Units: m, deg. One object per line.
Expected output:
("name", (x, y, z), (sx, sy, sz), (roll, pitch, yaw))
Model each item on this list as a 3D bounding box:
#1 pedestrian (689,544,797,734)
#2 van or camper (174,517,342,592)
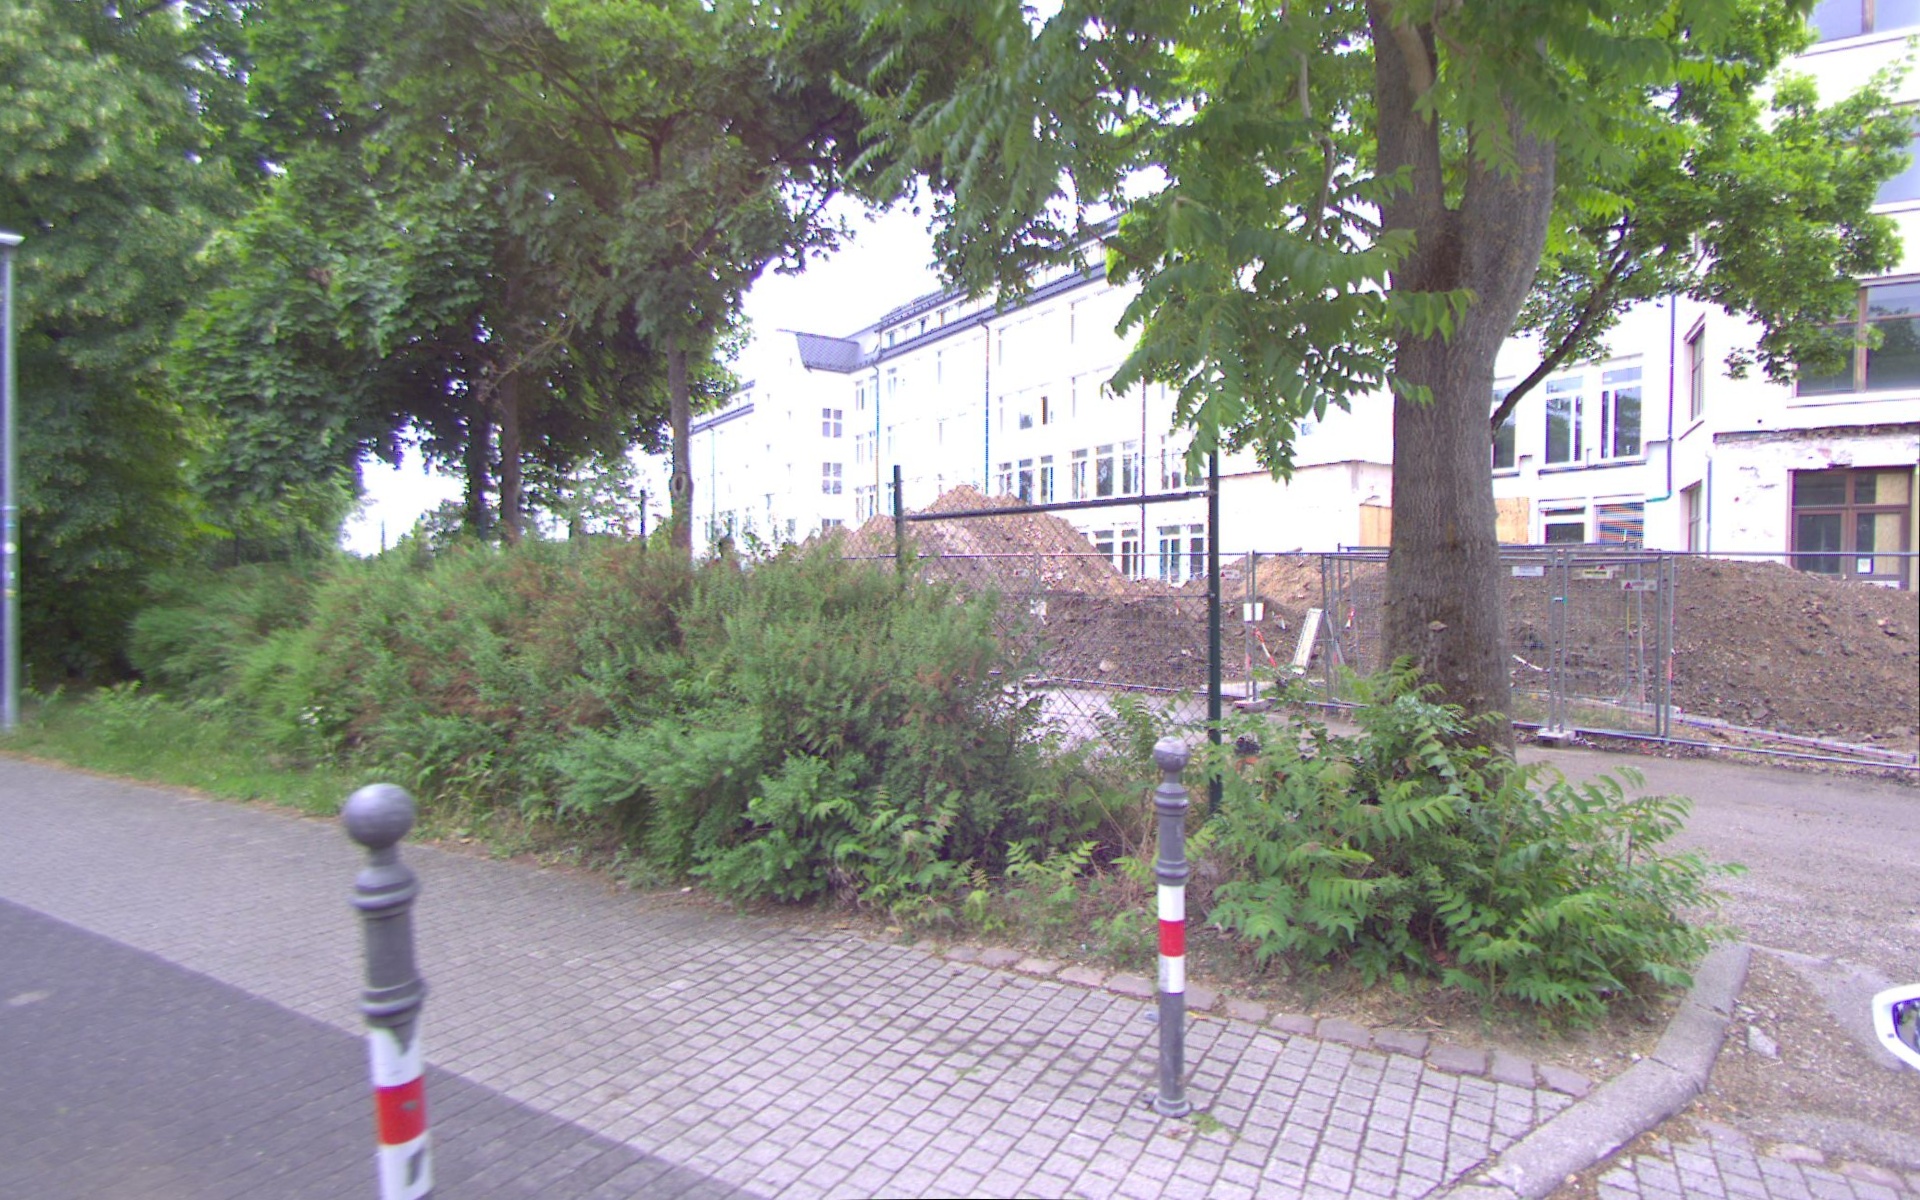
("pedestrian", (-2.560, 0.428, 11.801), (0.788, 2.092, 1.188), (0, 0, -38))
("van or camper", (-23.225, -1.441, 33.445), (4.455, 2.288, 1.981), (1, 0, -34))
